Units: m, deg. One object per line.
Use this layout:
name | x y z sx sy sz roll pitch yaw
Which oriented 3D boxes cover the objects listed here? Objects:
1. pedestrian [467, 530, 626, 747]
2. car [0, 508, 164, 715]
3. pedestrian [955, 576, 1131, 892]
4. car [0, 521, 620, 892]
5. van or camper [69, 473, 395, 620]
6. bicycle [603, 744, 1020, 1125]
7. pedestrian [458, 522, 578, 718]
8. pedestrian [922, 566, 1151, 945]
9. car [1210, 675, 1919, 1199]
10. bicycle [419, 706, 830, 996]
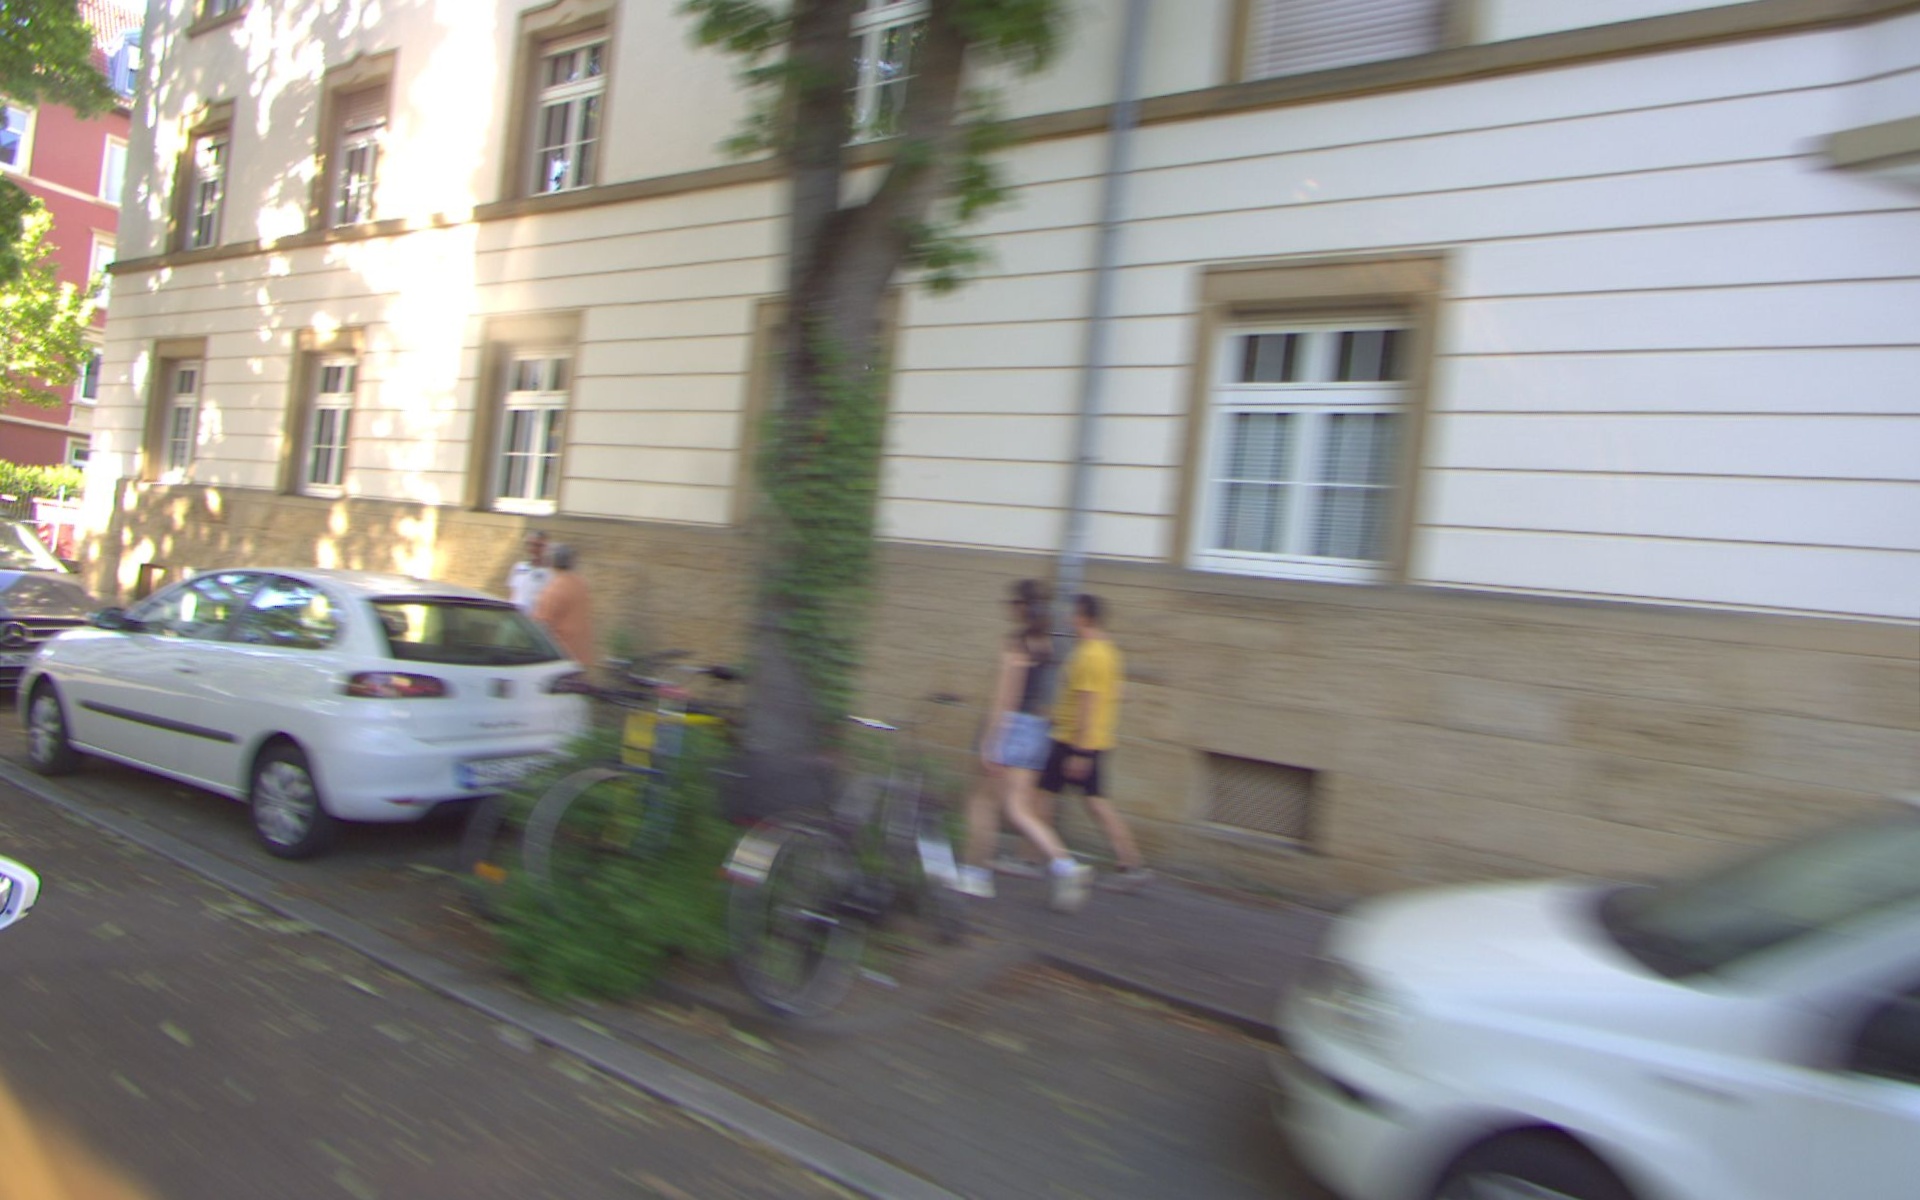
pedestrian | -3.556 0.323 8.676 0.860 1.716 0.778 6 1 31
car | -9.098 -0.103 8.706 4.333 1.569 1.793 6 -1 28
pedestrian | 0.503 0.766 6.038 0.677 1.722 0.596 7 0 32
car | -4.211 0.489 6.280 3.801 1.496 1.615 7 -1 26
van or camper | -16.597 -1.130 23.264 2.113 2.475 5.585 9 0 39
bicycle | -0.474 1.184 4.082 0.596 1.051 1.773 7 -2 30
pedestrian | -4.136 0.186 9.415 0.744 1.726 0.490 7 -1 29
pedestrian | 0.396 0.757 5.249 0.863 1.756 0.520 7 0 32
car | 2.604 1.183 2.448 3.484 1.529 1.522 6 -1 31
bicycle | -1.470 1.051 4.745 0.721 0.961 1.718 7 0 30
